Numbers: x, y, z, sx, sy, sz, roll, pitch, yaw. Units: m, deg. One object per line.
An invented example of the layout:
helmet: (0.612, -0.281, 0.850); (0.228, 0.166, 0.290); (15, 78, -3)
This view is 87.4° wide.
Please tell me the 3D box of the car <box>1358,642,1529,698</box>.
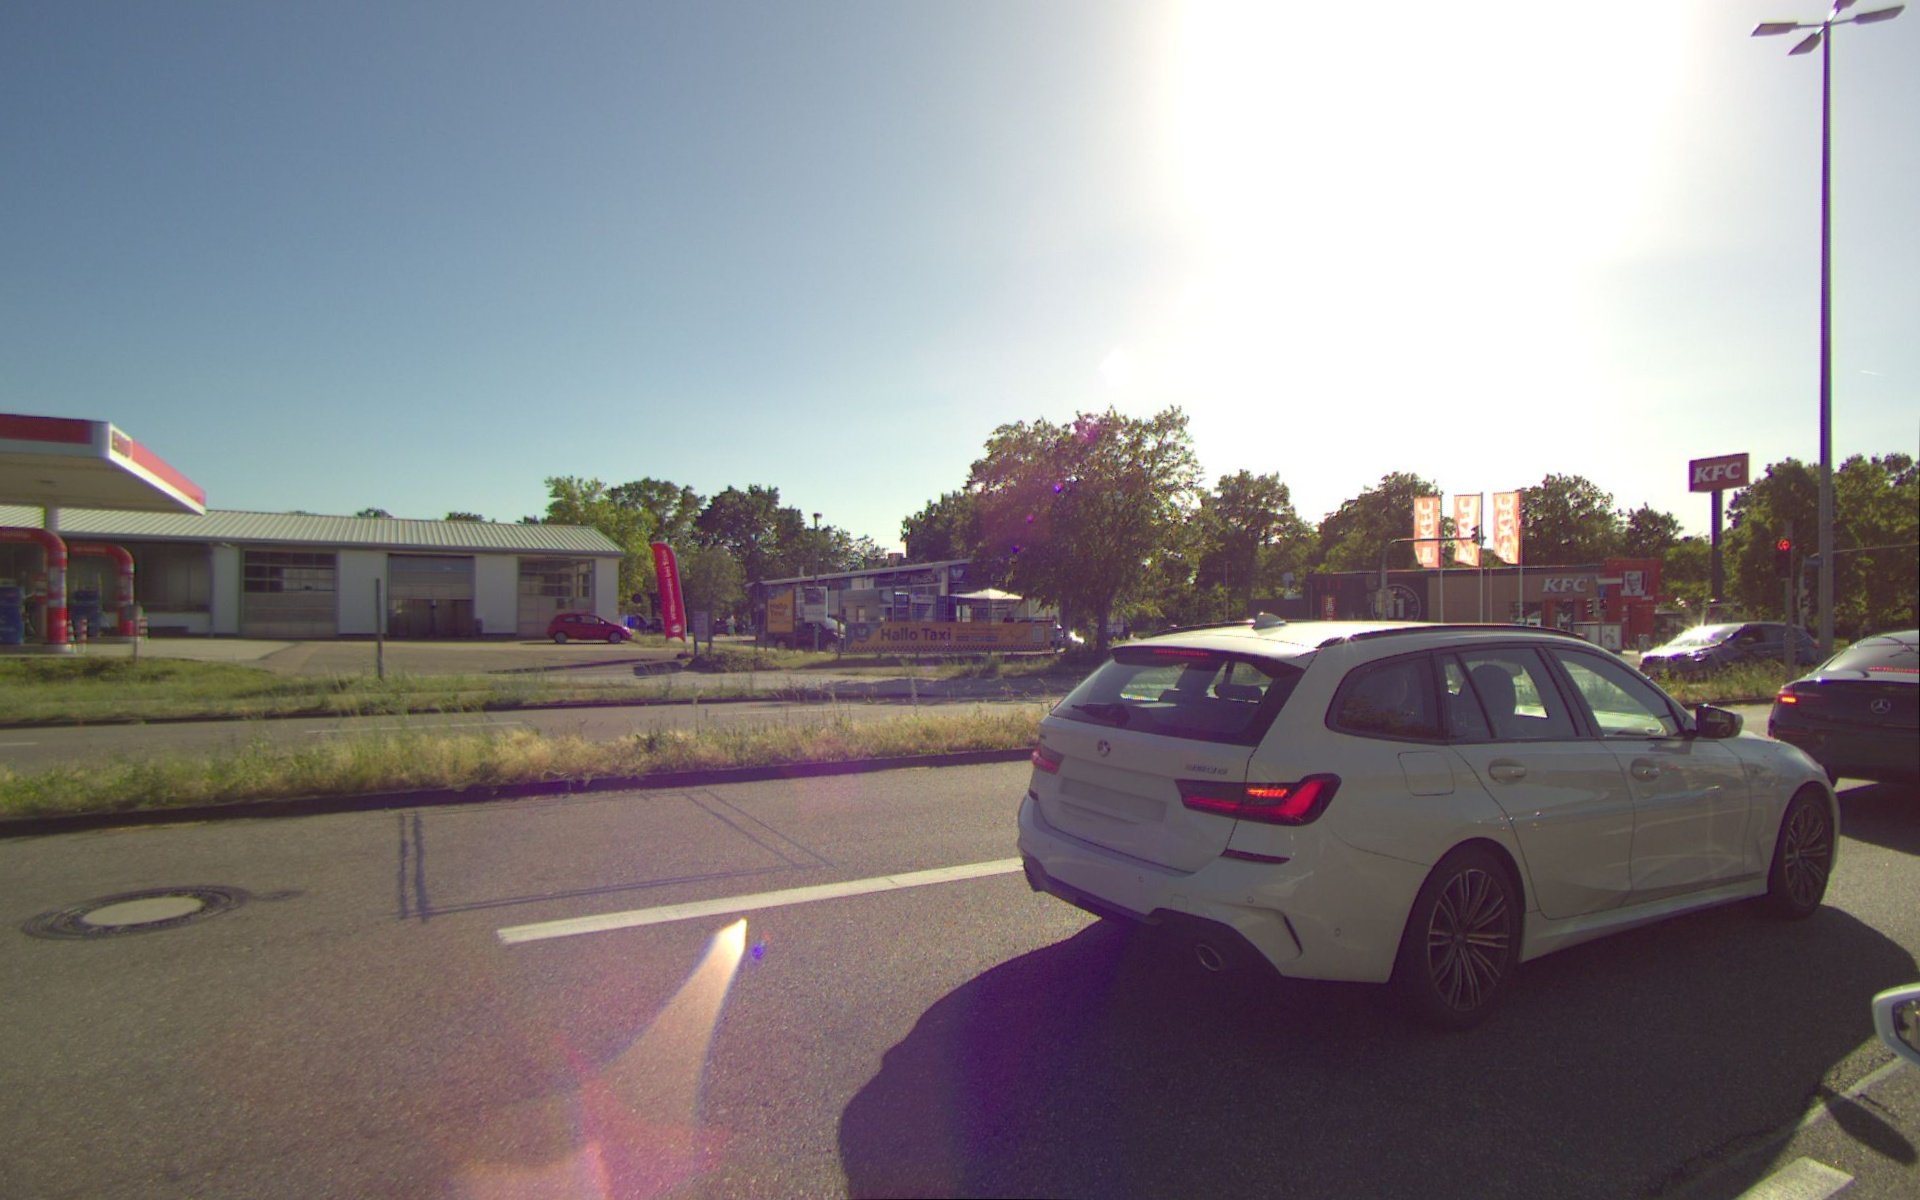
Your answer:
car: (13.958, 1.960, 28.982); (4.540, 1.465, 1.900); (1, -1, -22)

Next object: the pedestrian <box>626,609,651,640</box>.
pedestrian: (-18.509, 1.396, 57.767); (1.088, 1.787, 1.148); (1, -1, -34)

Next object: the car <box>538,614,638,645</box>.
car: (-18.275, 1.426, 49.420); (4.486, 1.458, 1.741); (1, -1, -26)

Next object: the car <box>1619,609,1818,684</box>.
car: (18.443, 1.098, 24.430); (4.370, 1.712, 1.876); (1, -1, -21)

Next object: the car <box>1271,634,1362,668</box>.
car: (17.028, 2.415, 48.164); (1.801, 1.448, 4.022); (1, -1, -27)

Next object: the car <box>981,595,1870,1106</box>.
car: (2.433, 0.795, 4.902); (4.409, 1.529, 1.760); (1, -1, -30)

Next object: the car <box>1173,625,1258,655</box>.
car: (13.795, 2.138, 54.522); (1.840, 1.449, 4.700); (0, 0, -28)

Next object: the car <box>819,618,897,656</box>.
car: (-3.758, 1.329, 36.802); (1.625, 1.301, 3.122); (1, -1, -32)

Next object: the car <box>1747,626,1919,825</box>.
car: (8.811, 0.962, 8.623); (4.409, 1.433, 1.760); (1, -1, -30)

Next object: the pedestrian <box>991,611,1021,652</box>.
pedestrian: (2.084, 1.424, 45.610); (0.916, 1.840, 1.013); (1, -1, -34)

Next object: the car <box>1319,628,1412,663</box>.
car: (20.075, 2.235, 49.855); (1.804, 1.616, 4.016); (1, -1, -32)

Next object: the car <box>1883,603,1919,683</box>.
car: (26.912, 1.118, 25.333); (4.927, 2.040, 2.000); (0, -1, 20)

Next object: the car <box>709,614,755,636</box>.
car: (-19.958, 2.150, 88.069); (2.085, 1.840, 4.000); (0, -1, 20)
